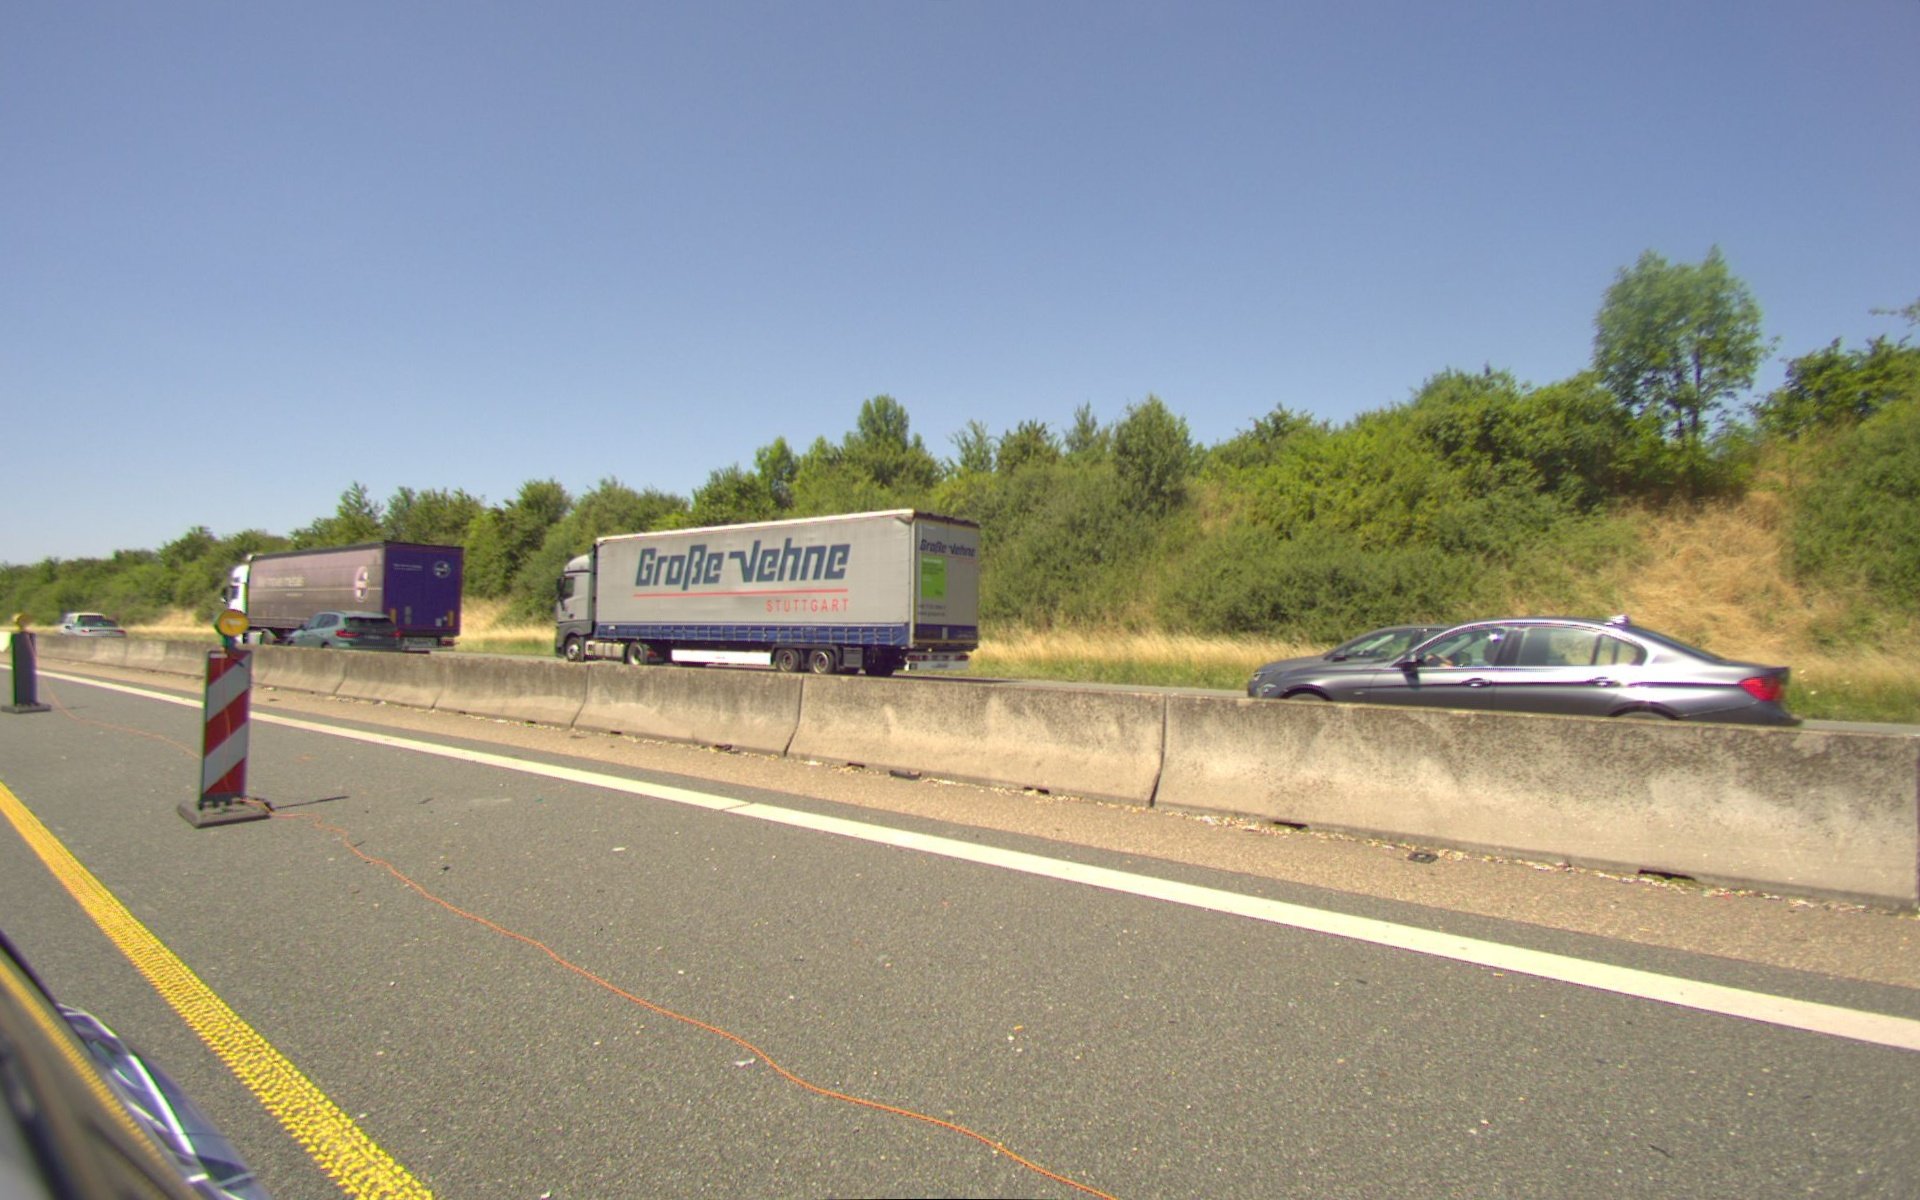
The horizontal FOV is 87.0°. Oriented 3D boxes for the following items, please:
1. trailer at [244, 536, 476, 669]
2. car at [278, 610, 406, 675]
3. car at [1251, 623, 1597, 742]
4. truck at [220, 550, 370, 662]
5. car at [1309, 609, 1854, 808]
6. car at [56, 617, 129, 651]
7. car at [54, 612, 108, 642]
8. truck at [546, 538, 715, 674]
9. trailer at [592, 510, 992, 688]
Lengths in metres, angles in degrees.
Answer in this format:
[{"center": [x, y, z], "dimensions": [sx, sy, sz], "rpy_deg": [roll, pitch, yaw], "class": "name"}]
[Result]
[{"center": [-22.835, 0.209, 37.885], "dimensions": [13.673, 4.212, 3.128], "rpy_deg": [-1, -2, 40], "class": "trailer"}, {"center": [-17.685, 1.169, 28.892], "dimensions": [4.392, 1.728, 1.823], "rpy_deg": [-1, -2, 40], "class": "car"}, {"center": [6.245, 1.023, 13.888], "dimensions": [4.084, 1.407, 1.489], "rpy_deg": [-1, -2, 38], "class": "car"}, {"center": [-27.575, 0.318, 41.844], "dimensions": [7.408, 4.257, 3.132], "rpy_deg": [-1, -2, 40], "class": "truck"}, {"center": [5.462, 0.837, 9.279], "dimensions": [3.985, 1.453, 1.600], "rpy_deg": [-1, -2, 39], "class": "car"}, {"center": [-40.287, 1.554, 46.971], "dimensions": [4.629, 1.482, 1.745], "rpy_deg": [-1, -2, 39], "class": "car"}, {"center": [-55.876, 1.707, 64.282], "dimensions": [5.452, 1.806, 1.847], "rpy_deg": [-1, -2, 41], "class": "car"}, {"center": [-10.871, 0.254, 33.249], "dimensions": [5.191, 4.108, 2.916], "rpy_deg": [-1, -2, 39], "class": "truck"}, {"center": [-5.390, 0.131, 28.722], "dimensions": [13.624, 4.093, 2.923], "rpy_deg": [-1, -3, 40], "class": "trailer"}]
